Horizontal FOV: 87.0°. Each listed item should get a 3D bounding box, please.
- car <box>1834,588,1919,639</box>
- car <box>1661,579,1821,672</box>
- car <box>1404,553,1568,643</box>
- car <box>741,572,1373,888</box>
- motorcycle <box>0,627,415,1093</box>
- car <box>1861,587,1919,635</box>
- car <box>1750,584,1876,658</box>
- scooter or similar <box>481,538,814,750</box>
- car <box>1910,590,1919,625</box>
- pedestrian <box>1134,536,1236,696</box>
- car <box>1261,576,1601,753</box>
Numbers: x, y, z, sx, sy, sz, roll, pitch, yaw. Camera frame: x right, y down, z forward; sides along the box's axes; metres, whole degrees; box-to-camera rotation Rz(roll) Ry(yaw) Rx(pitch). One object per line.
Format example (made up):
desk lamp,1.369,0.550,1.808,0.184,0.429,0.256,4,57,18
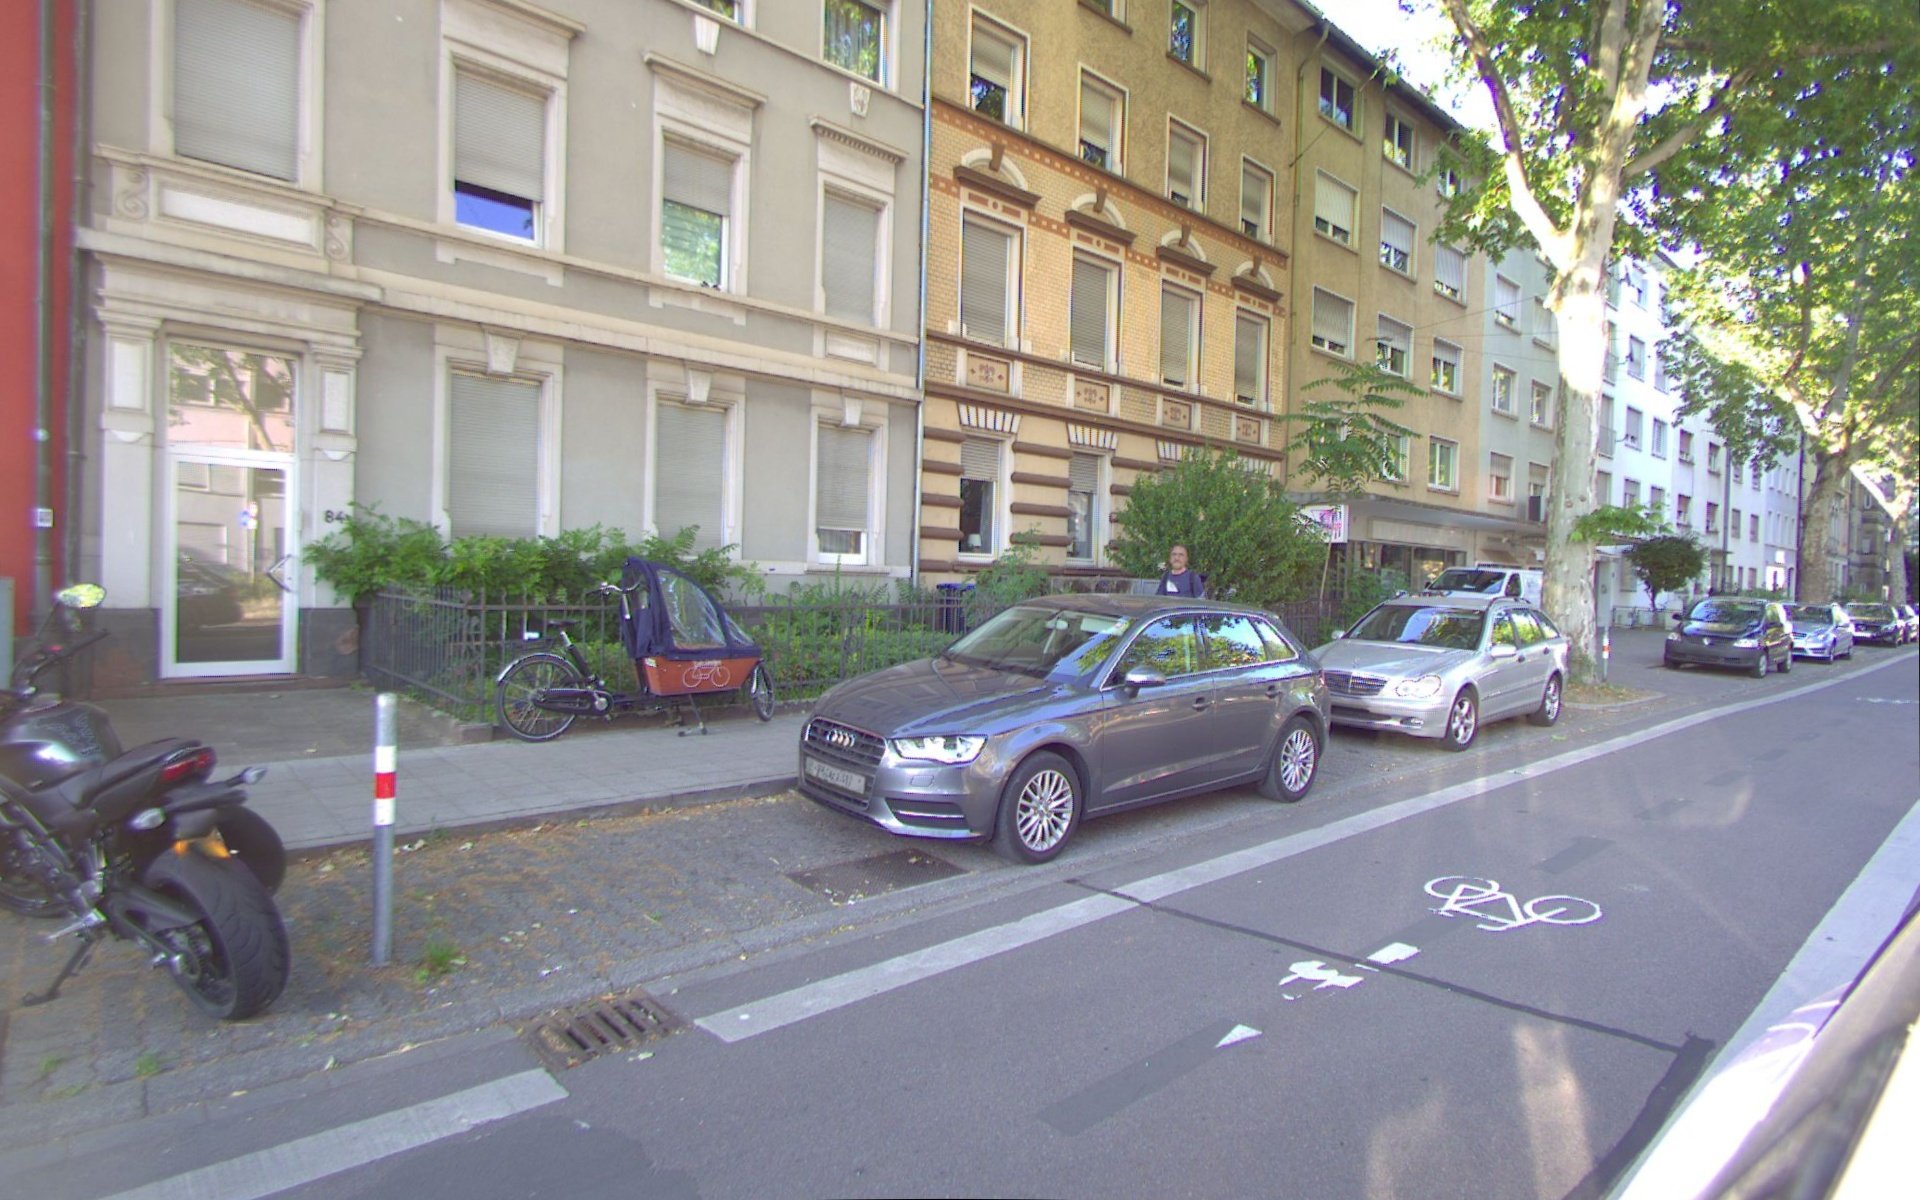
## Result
car,31.500,0.424,34.659,4.295,1.520,1.802,0,4,-42
car,16.154,0.450,20.859,4.295,1.628,1.802,0,4,-42
car,12.796,-0.078,24.495,4.597,1.897,1.932,0,4,-42
car,0.878,0.603,6.928,4.293,1.418,1.802,0,4,-41
motorcycle,-3.021,0.755,3.582,2.188,1.124,0.659,4,2,23
car,35.635,0.387,38.258,4.295,1.628,1.802,0,4,-42
car,21.816,0.470,25.834,4.295,1.628,1.802,0,4,-42
scooter or similar,-2.426,0.293,8.154,2.500,1.488,0.666,0,2,-41
car,46.714,0.392,48.132,4.034,1.628,1.802,0,4,-42
pedestrian,2.580,0.160,11.614,0.802,1.731,0.728,-1,4,-41
car,5.328,0.545,11.149,4.436,1.472,1.801,0,4,-43
